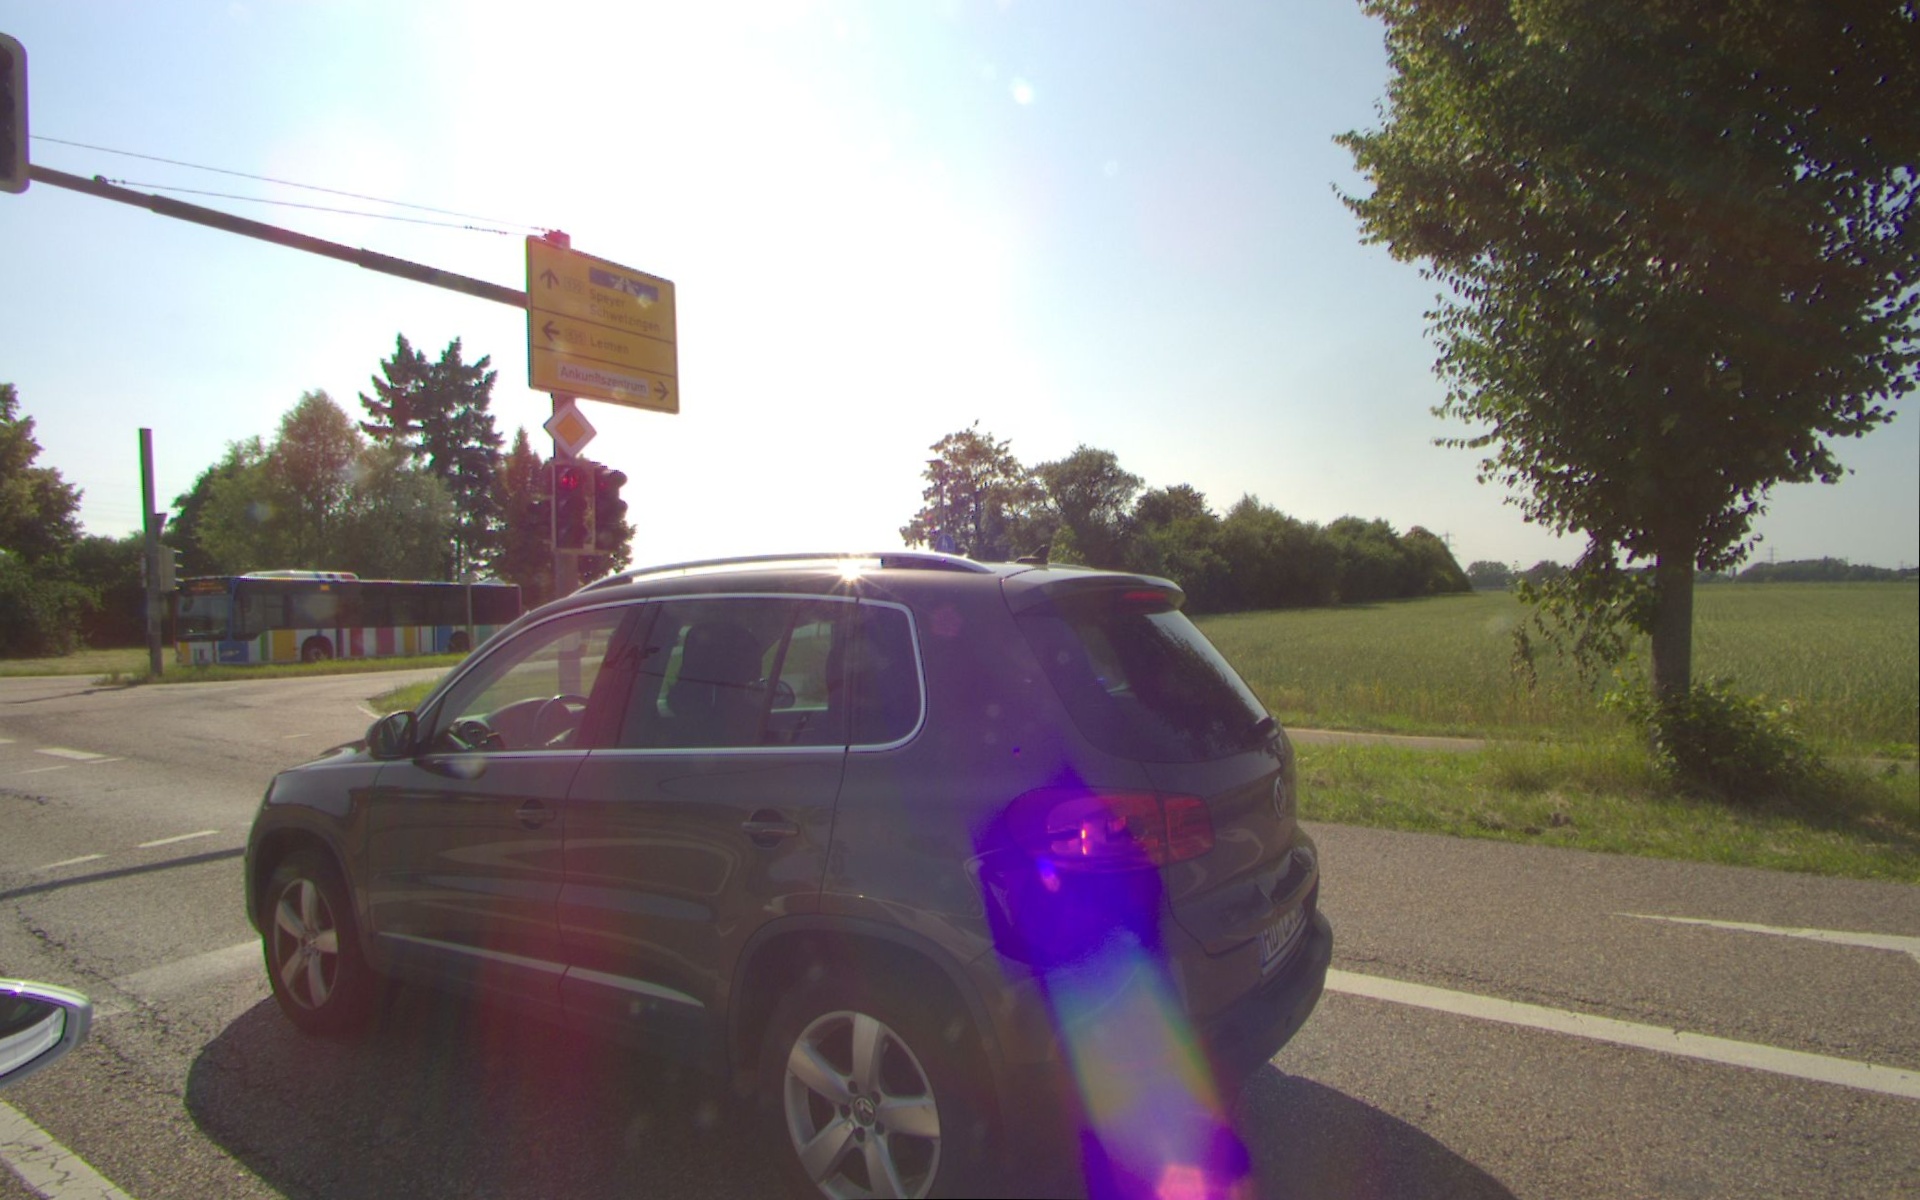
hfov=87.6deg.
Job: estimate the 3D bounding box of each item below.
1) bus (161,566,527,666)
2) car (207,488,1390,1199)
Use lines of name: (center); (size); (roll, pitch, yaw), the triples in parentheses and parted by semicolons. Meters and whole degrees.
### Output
bus: (-20.668, 0.418, 35.172); (2.889, 2.916, 11.955); (-1, 0, 17)
car: (-0.773, 0.692, 3.619); (4.086, 1.677, 1.753); (-1, -2, 32)
